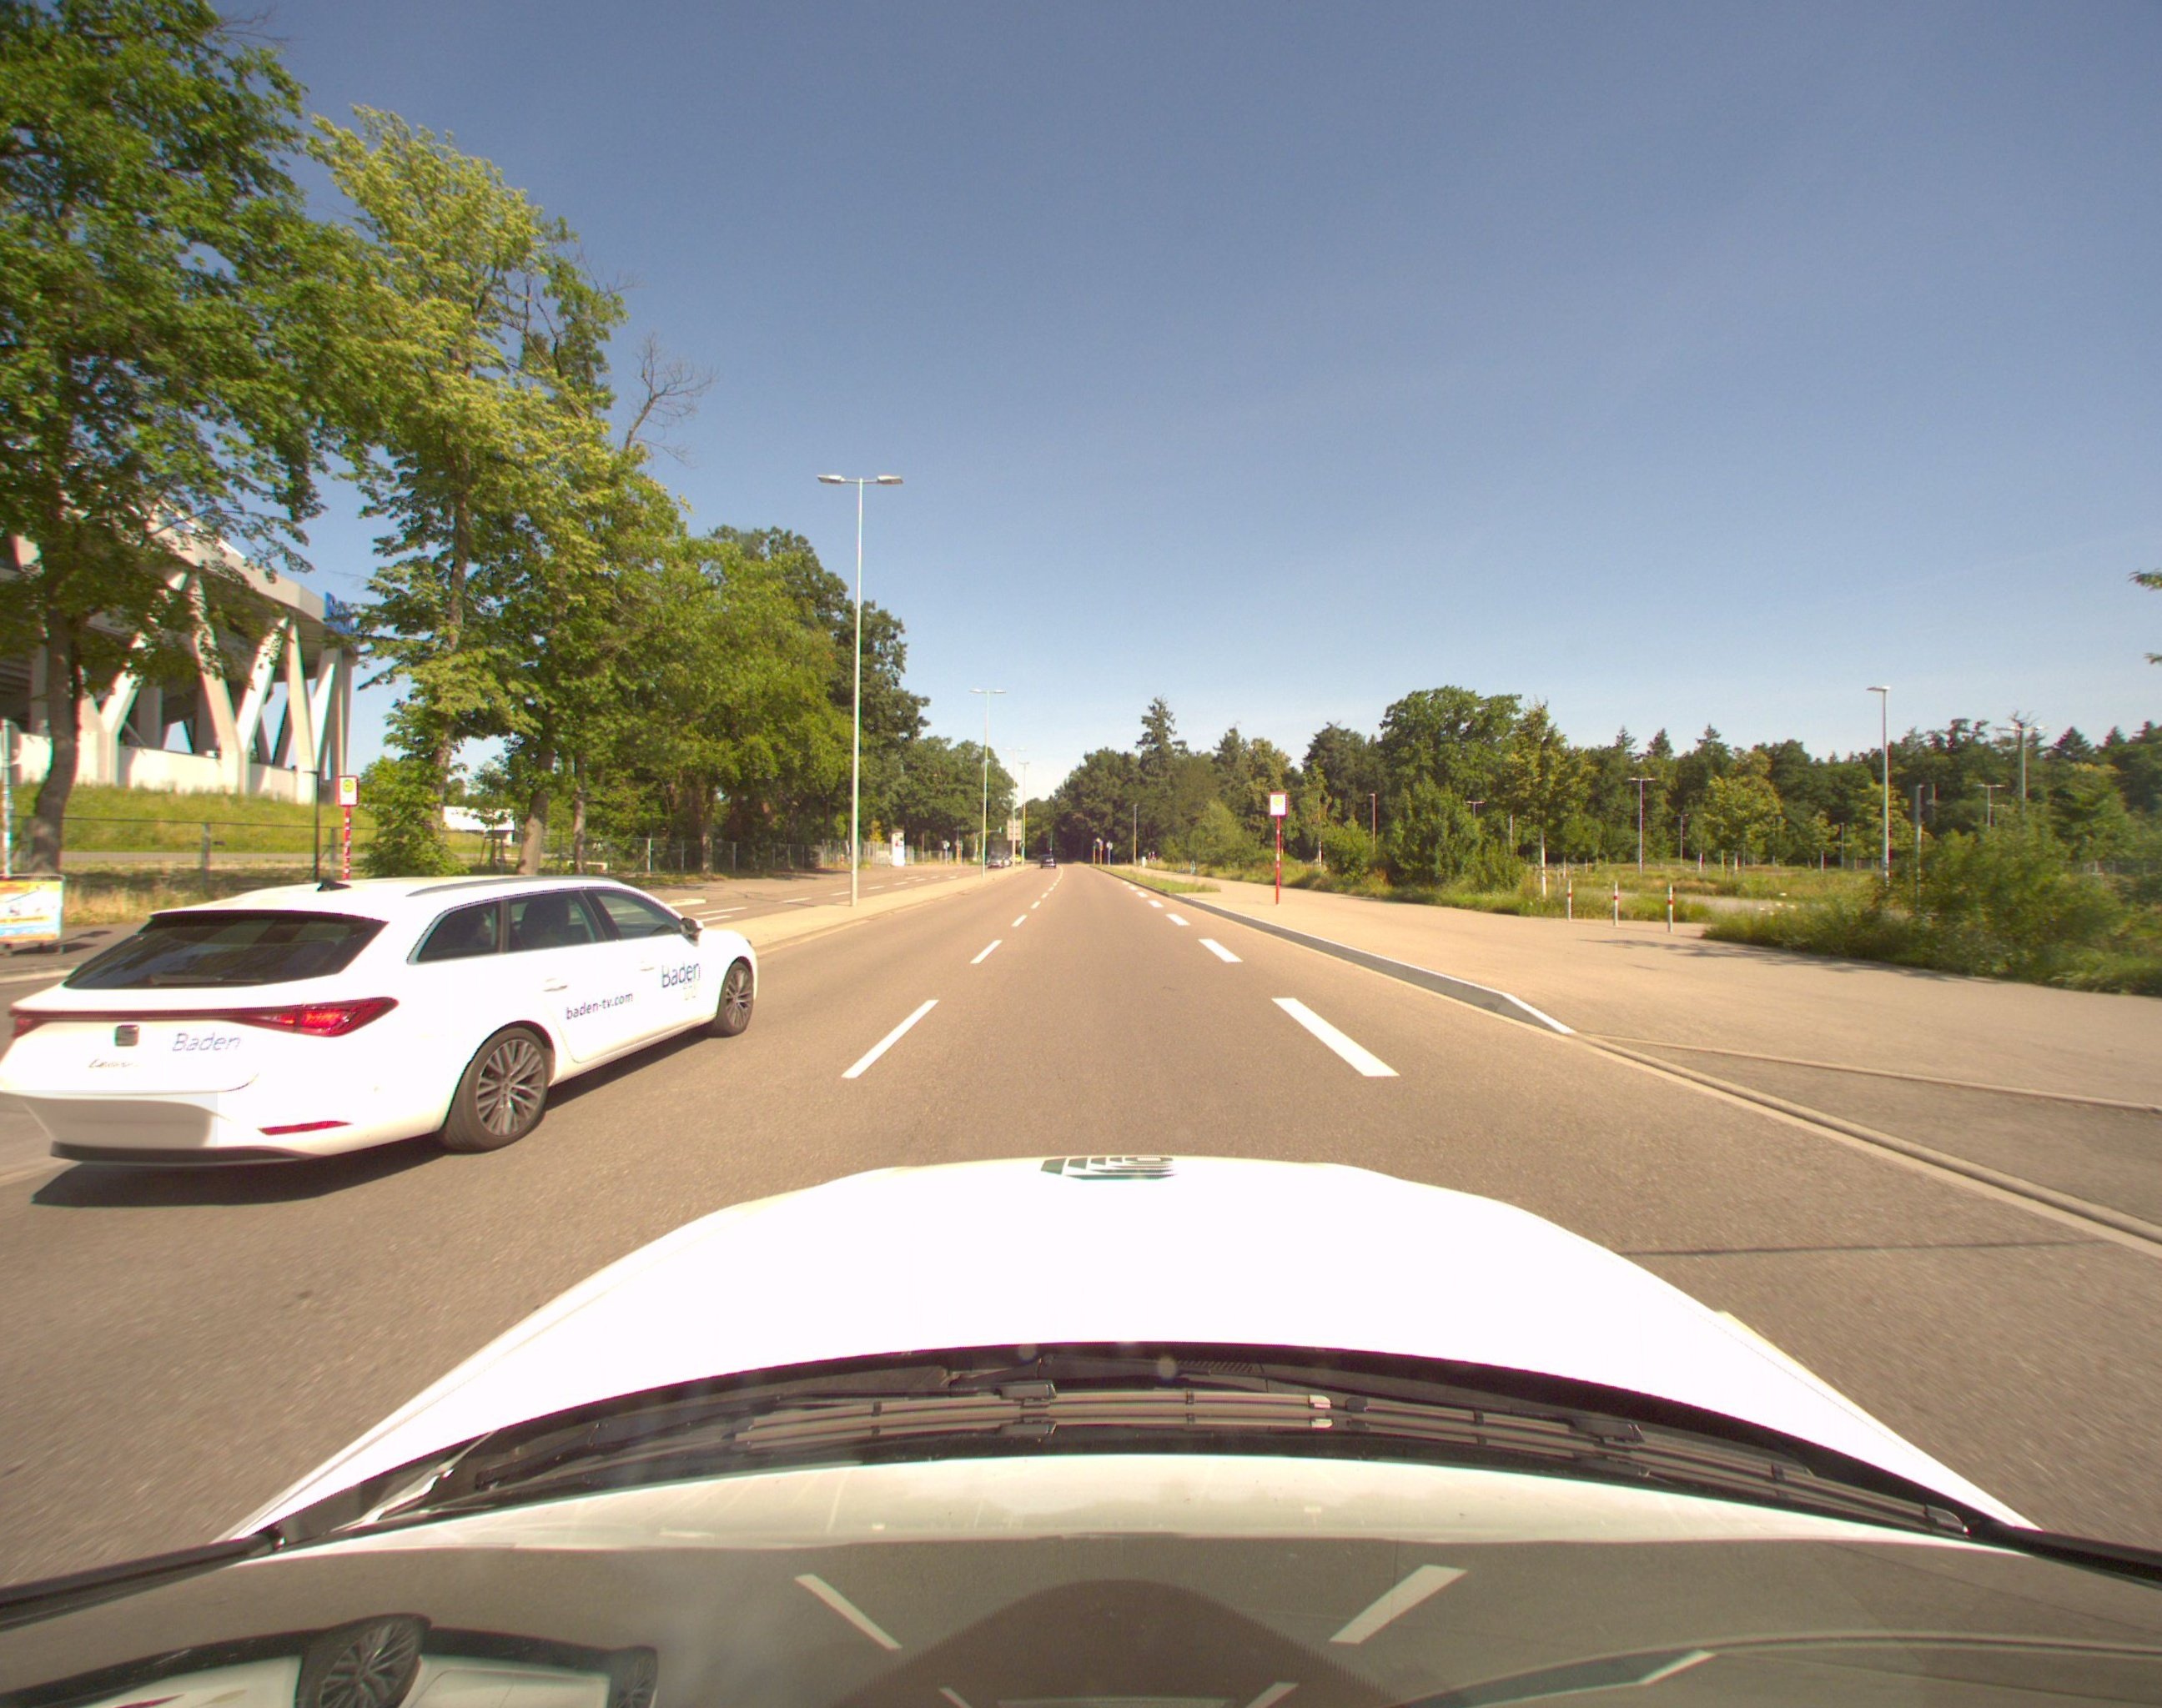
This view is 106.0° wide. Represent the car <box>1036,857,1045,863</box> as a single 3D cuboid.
[{"bbox_3d":[-9.968,1.545,199.932,1.937,1.420,4.286,1,0,-4],"label":"car"}]

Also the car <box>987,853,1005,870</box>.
[{"bbox_3d":[-10.177,0.903,97.903,1.836,1.932,4.625,0,0,-2],"label":"car"}]

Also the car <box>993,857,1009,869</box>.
[{"bbox_3d":[-10.932,1.255,111.771,1.904,1.585,3.998,1,0,-1],"label":"car"}]

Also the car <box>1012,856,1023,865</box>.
[{"bbox_3d":[-11.547,1.111,148.561,1.842,1.618,3.995,1,0,-4],"label":"car"}]

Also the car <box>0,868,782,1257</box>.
[{"bbox_3d":[-3.849,0.868,5.570,1.718,1.427,4.722,-1,0,2],"label":"car"}]

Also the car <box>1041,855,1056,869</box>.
[{"bbox_3d":[-3.729,0.907,94.233,1.683,1.544,4.146,0,0,-1],"label":"car"}]

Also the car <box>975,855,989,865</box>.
[{"bbox_3d":[-14.964,0.903,123.542,1.790,1.478,3.995,1,0,-3],"label":"car"}]
